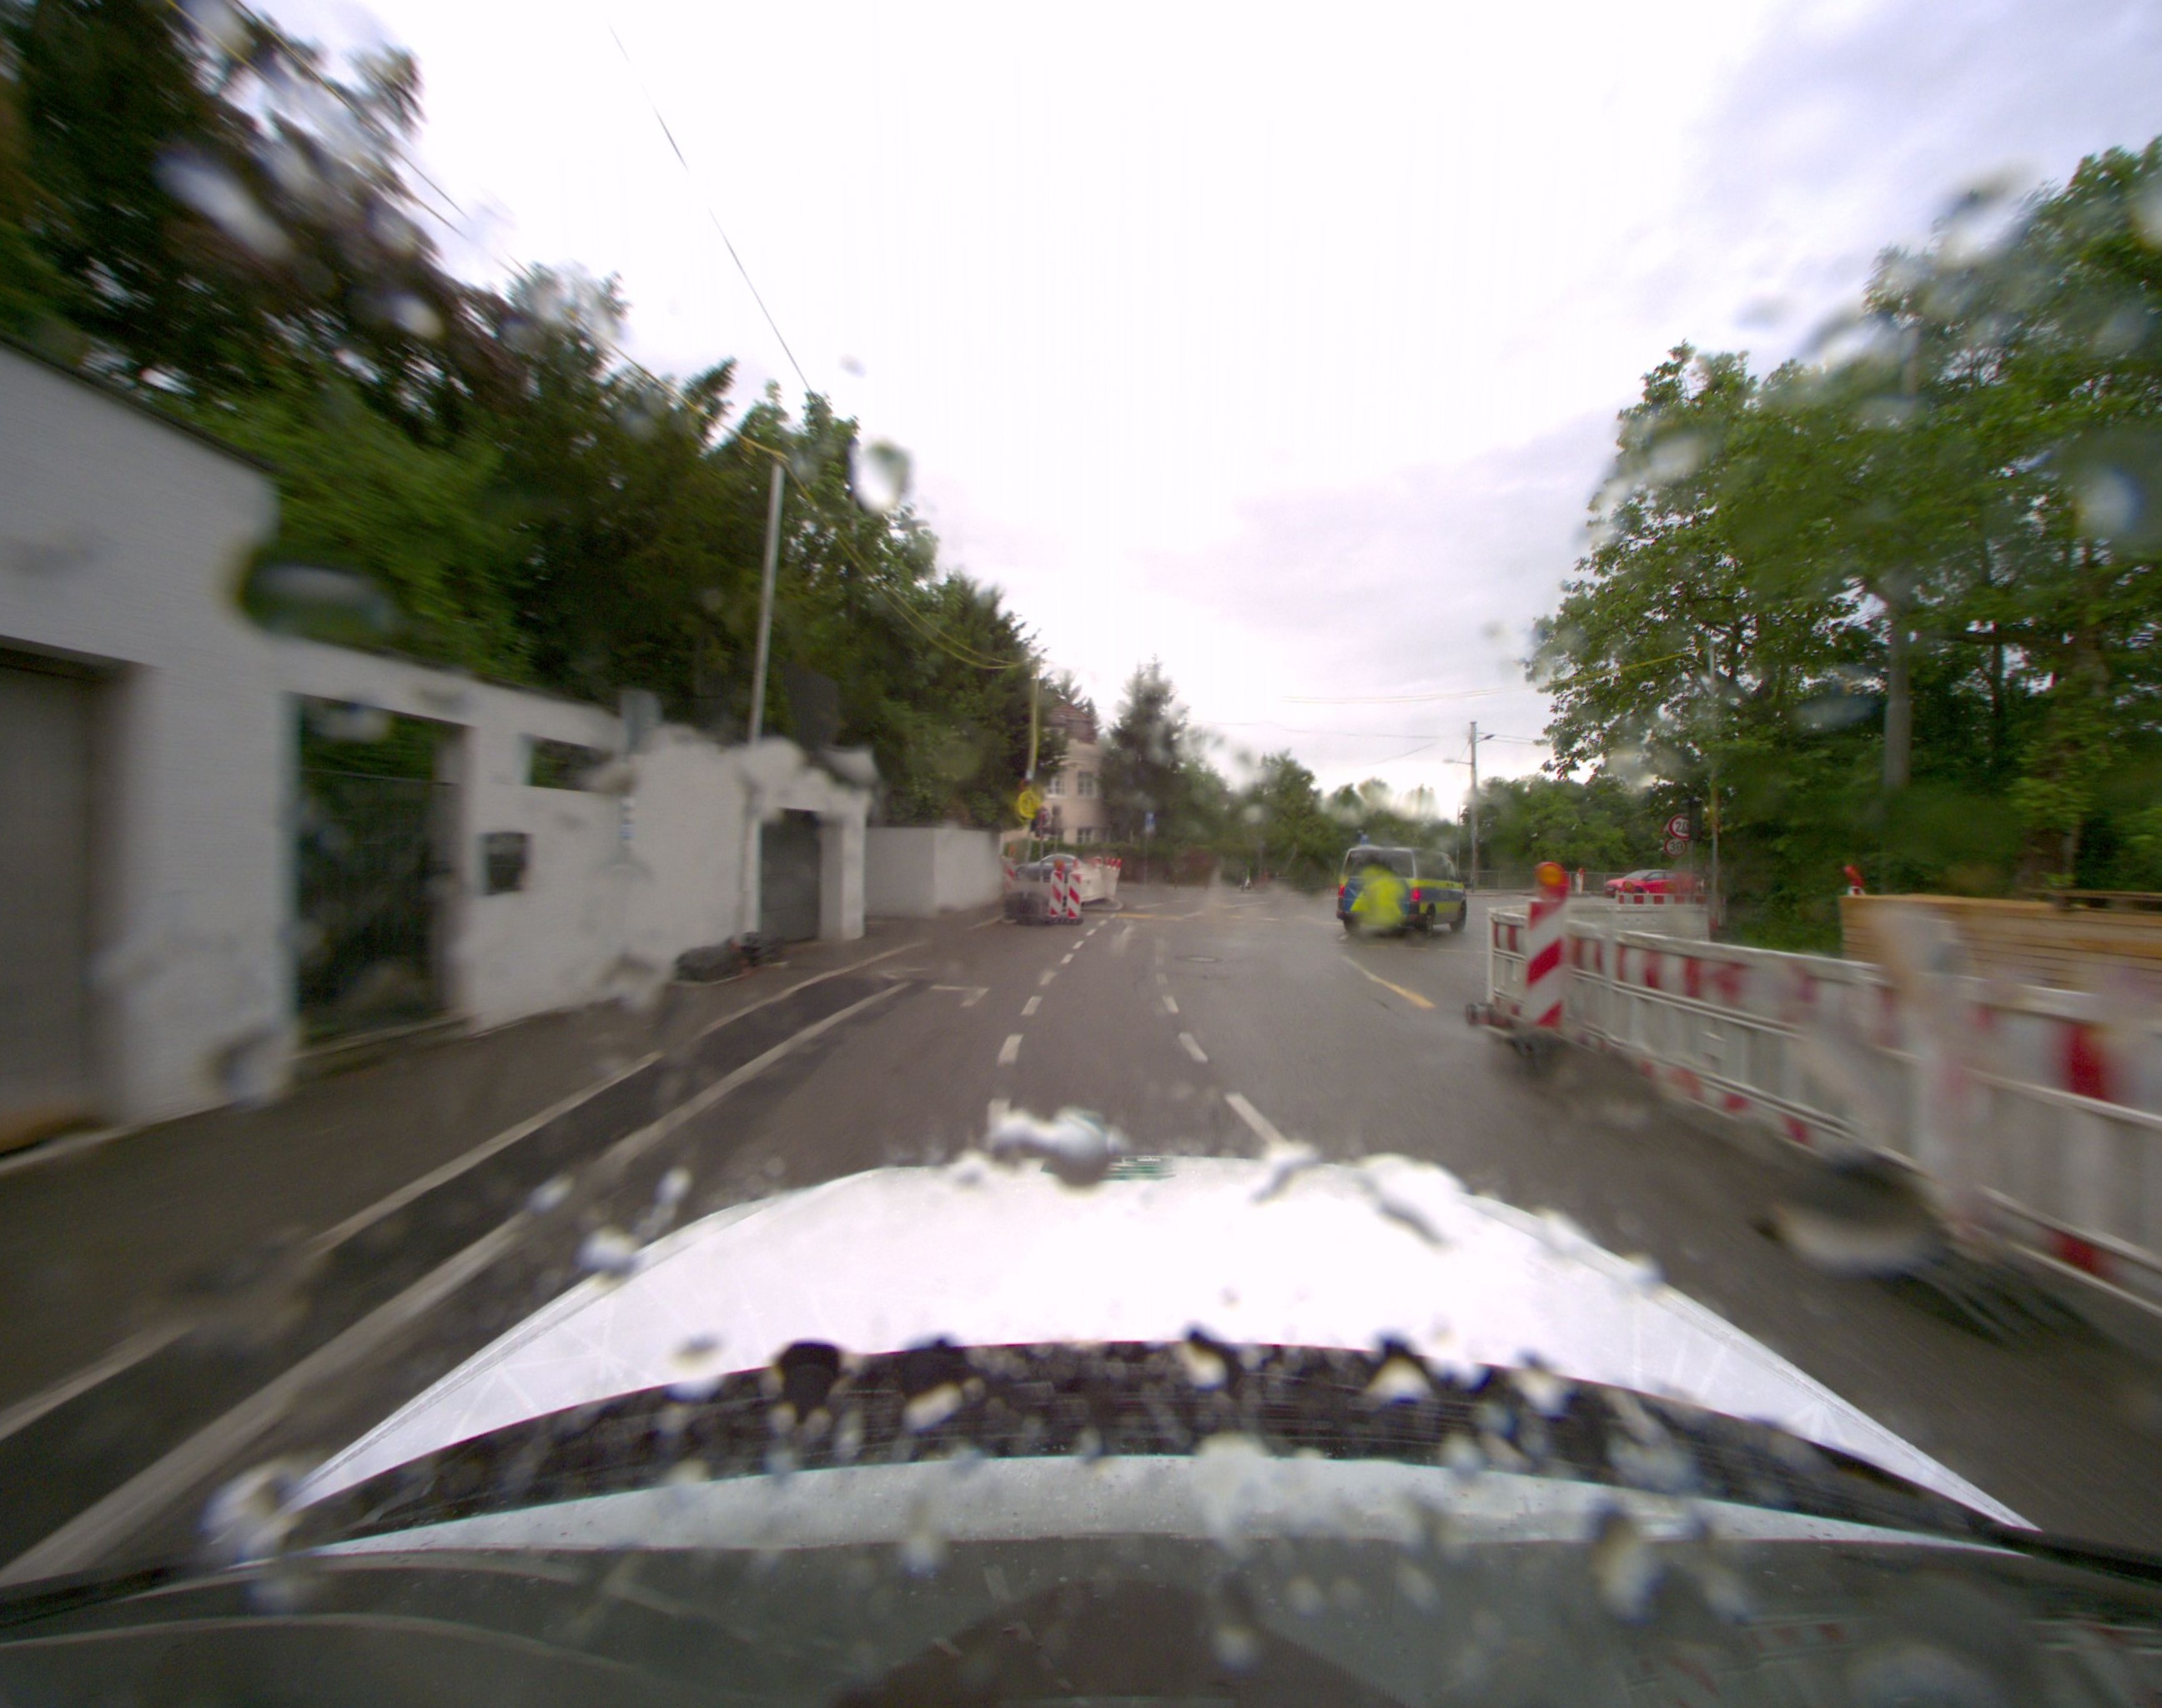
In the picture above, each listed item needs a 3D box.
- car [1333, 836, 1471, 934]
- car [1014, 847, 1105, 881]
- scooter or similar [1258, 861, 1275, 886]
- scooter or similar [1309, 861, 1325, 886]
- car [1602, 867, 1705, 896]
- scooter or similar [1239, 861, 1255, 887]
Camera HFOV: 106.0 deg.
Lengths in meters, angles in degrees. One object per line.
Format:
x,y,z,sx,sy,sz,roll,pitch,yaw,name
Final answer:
7.614,0.694,19.066,1.889,2.010,4.467,1,-1,36,car
-1.031,0.476,39.132,3.951,1.517,1.737,1,-1,24,car
8.702,0.925,38.219,0.463,1.144,0.993,2,-1,-6,scooter or similar
11.232,0.932,38.748,0.463,1.144,0.833,2,-1,-4,scooter or similar
28.882,1.387,41.175,3.977,1.332,1.796,-1,-1,-2,car
7.932,0.951,38.866,0.463,1.187,1.023,2,-1,-5,scooter or similar
